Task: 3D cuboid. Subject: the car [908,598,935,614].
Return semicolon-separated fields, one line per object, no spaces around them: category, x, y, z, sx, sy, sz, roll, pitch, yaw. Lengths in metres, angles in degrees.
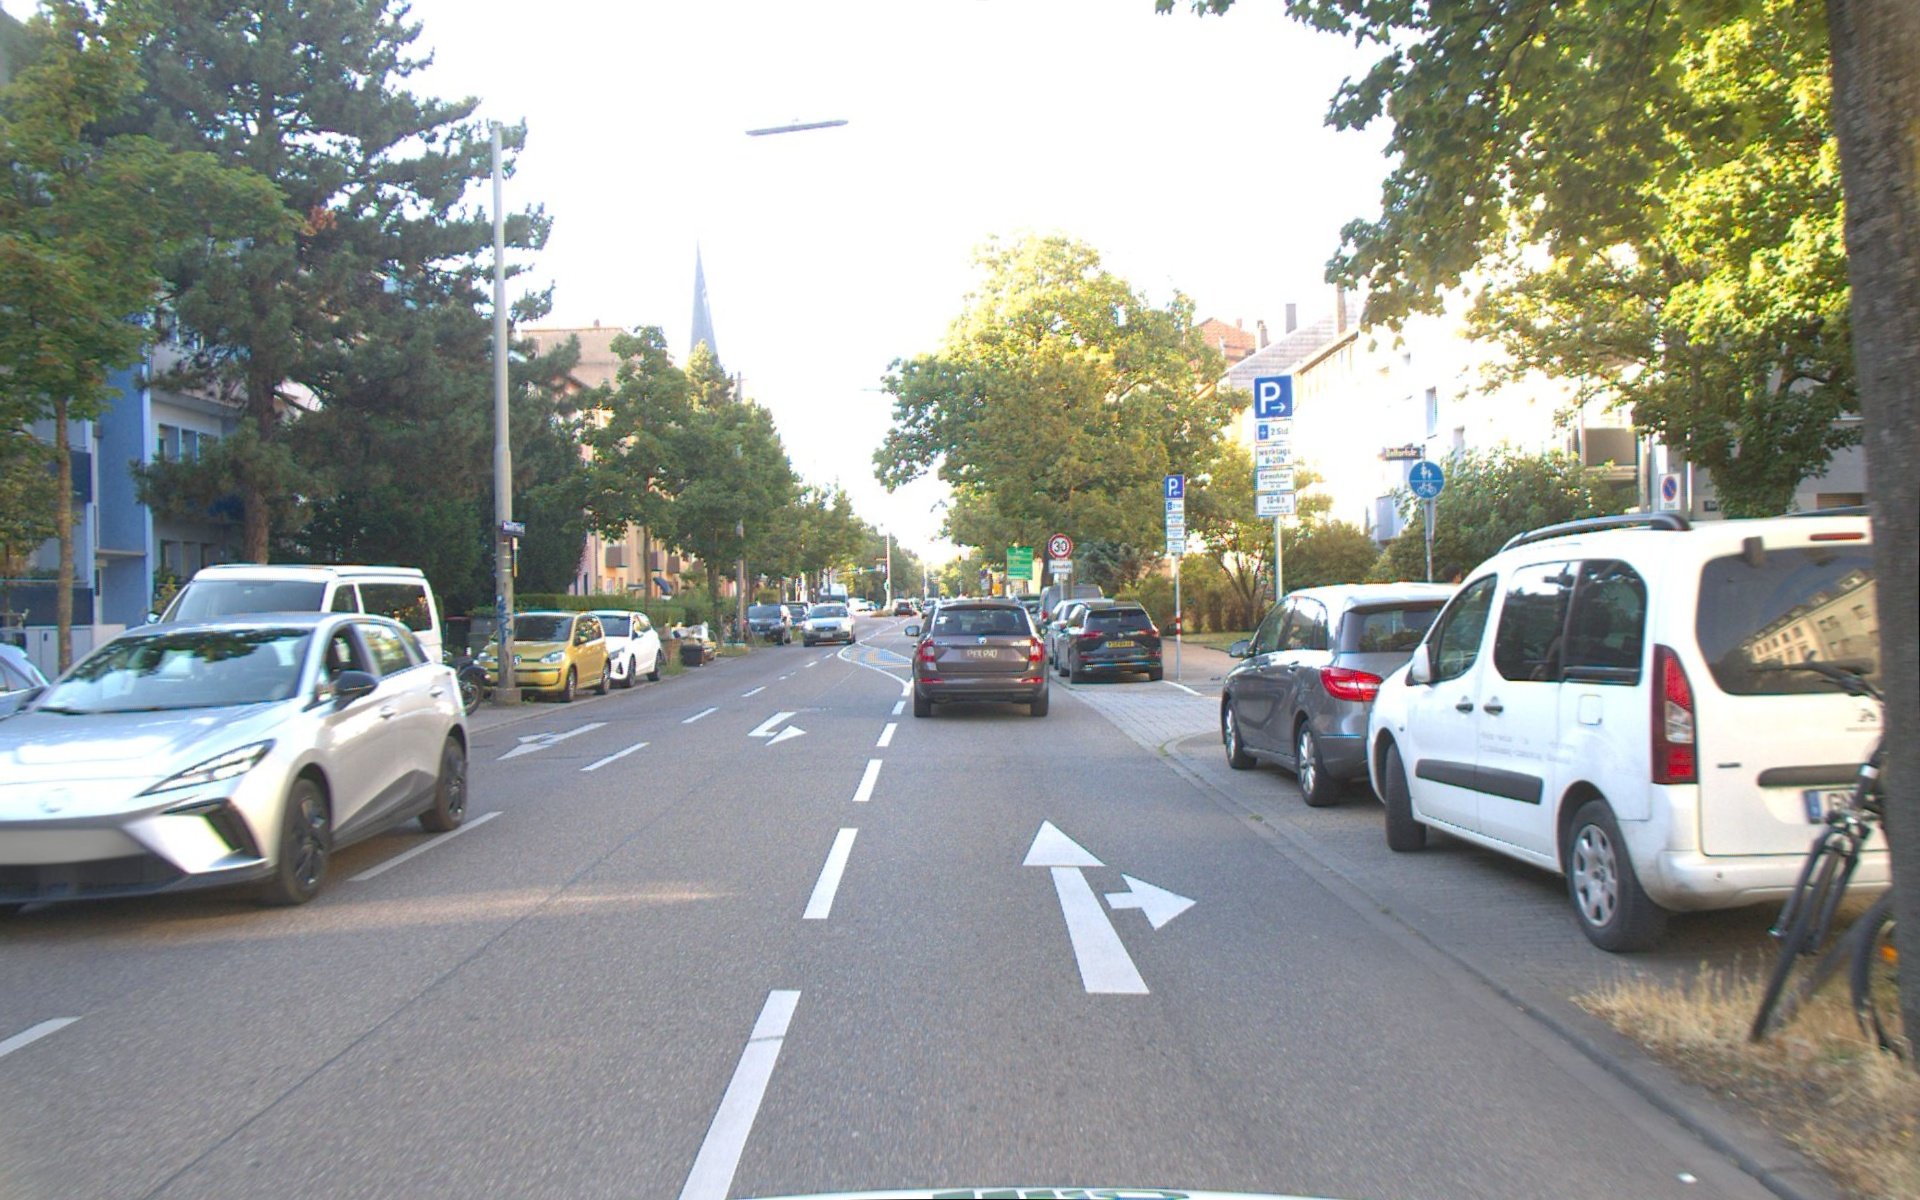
car;-4.269;0.662;182.522;1.963;1.780;3.979;-1;0;-18

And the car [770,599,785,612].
car;-25.352;0.760;230.041;1.956;1.780;3.993;-1;0;-8

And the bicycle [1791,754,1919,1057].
bicycle;3.572;0.957;5.465;1.524;0.884;0.392;-2;0;-10

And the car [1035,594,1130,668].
car;2.717;0.668;37.497;1.719;1.584;4.103;0;0;-2

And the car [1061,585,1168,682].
car;2.888;0.586;31.624;1.718;1.716;4.253;0;0;1

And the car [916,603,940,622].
car;-2.561;1.017;132.861;1.745;1.506;3.968;0;0;-4

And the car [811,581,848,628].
car;-8.080;0.255;102.910;1.951;2.830;5.502;0;0;-1

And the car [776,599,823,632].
car;-7.713;0.729;79.877;1.744;1.506;3.972;0;0;2

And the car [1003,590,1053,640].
car;2.428;0.505;59.807;1.718;1.745;4.001;0;0;1

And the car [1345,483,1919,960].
car;3.496;0.465;8.634;1.764;1.840;4.421;0;0;-3

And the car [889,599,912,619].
car;-5.764;0.853;160.108;1.955;1.780;3.995;-1;0;-6

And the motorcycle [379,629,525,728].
motorcycle;-7.115;1.071;23.296;0.645;1.225;2.332;-2;1;20

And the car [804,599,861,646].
car;-4.572;0.783;59.731;1.704;1.505;4.308;-4;0;-1

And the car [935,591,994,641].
car;0.130;0.545;55.564;1.853;1.533;3.788;2;-1;-1

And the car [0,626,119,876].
car;-6.759;0.961;9.453;1.657;1.509;4.144;-1;0;2

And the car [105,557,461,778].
car;-7.172;0.627;18.228;1.831;2.067;5.299;0;0;-1

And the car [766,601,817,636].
car;-7.519;0.789;74.181;1.744;1.506;3.972;0;0;2

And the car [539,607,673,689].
car;-7.106;0.928;33.556;1.744;1.521;3.972;0;0;2

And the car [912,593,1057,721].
car;0.331;0.669;21.694;1.718;1.518;4.001;0;0;1

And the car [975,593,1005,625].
car;1.728;0.510;96.341;1.718;1.837;4.000;0;0;0

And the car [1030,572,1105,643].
car;3.039;0.184;47.851;1.877;1.893;5.634;-1;0;1

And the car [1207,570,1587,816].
car;3.299;0.624;13.388;1.719;1.584;4.250;-3;0;-3

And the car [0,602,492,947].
car;-4.207;0.836;9.729;1.745;1.520;3.970;-4;0;-1

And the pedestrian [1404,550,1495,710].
pedestrian;6.036;0.361;20.430;0.733;1.893;1.068;-2;0;-1

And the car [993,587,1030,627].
car;2.452;0.314;79.435;1.718;1.837;4.001;0;0;1

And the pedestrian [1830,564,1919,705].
pedestrian;11.701;0.433;21.128;0.738;1.751;0.789;-2;0;-42

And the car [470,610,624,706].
car;-7.060;0.948;28.628;1.585;1.506;3.872;0;0;2

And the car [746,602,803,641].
car;-7.564;0.862;67.741;1.744;1.506;3.972;0;0;2

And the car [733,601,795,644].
car;-7.272;0.809;61.666;1.744;1.506;4.034;0;0;2
